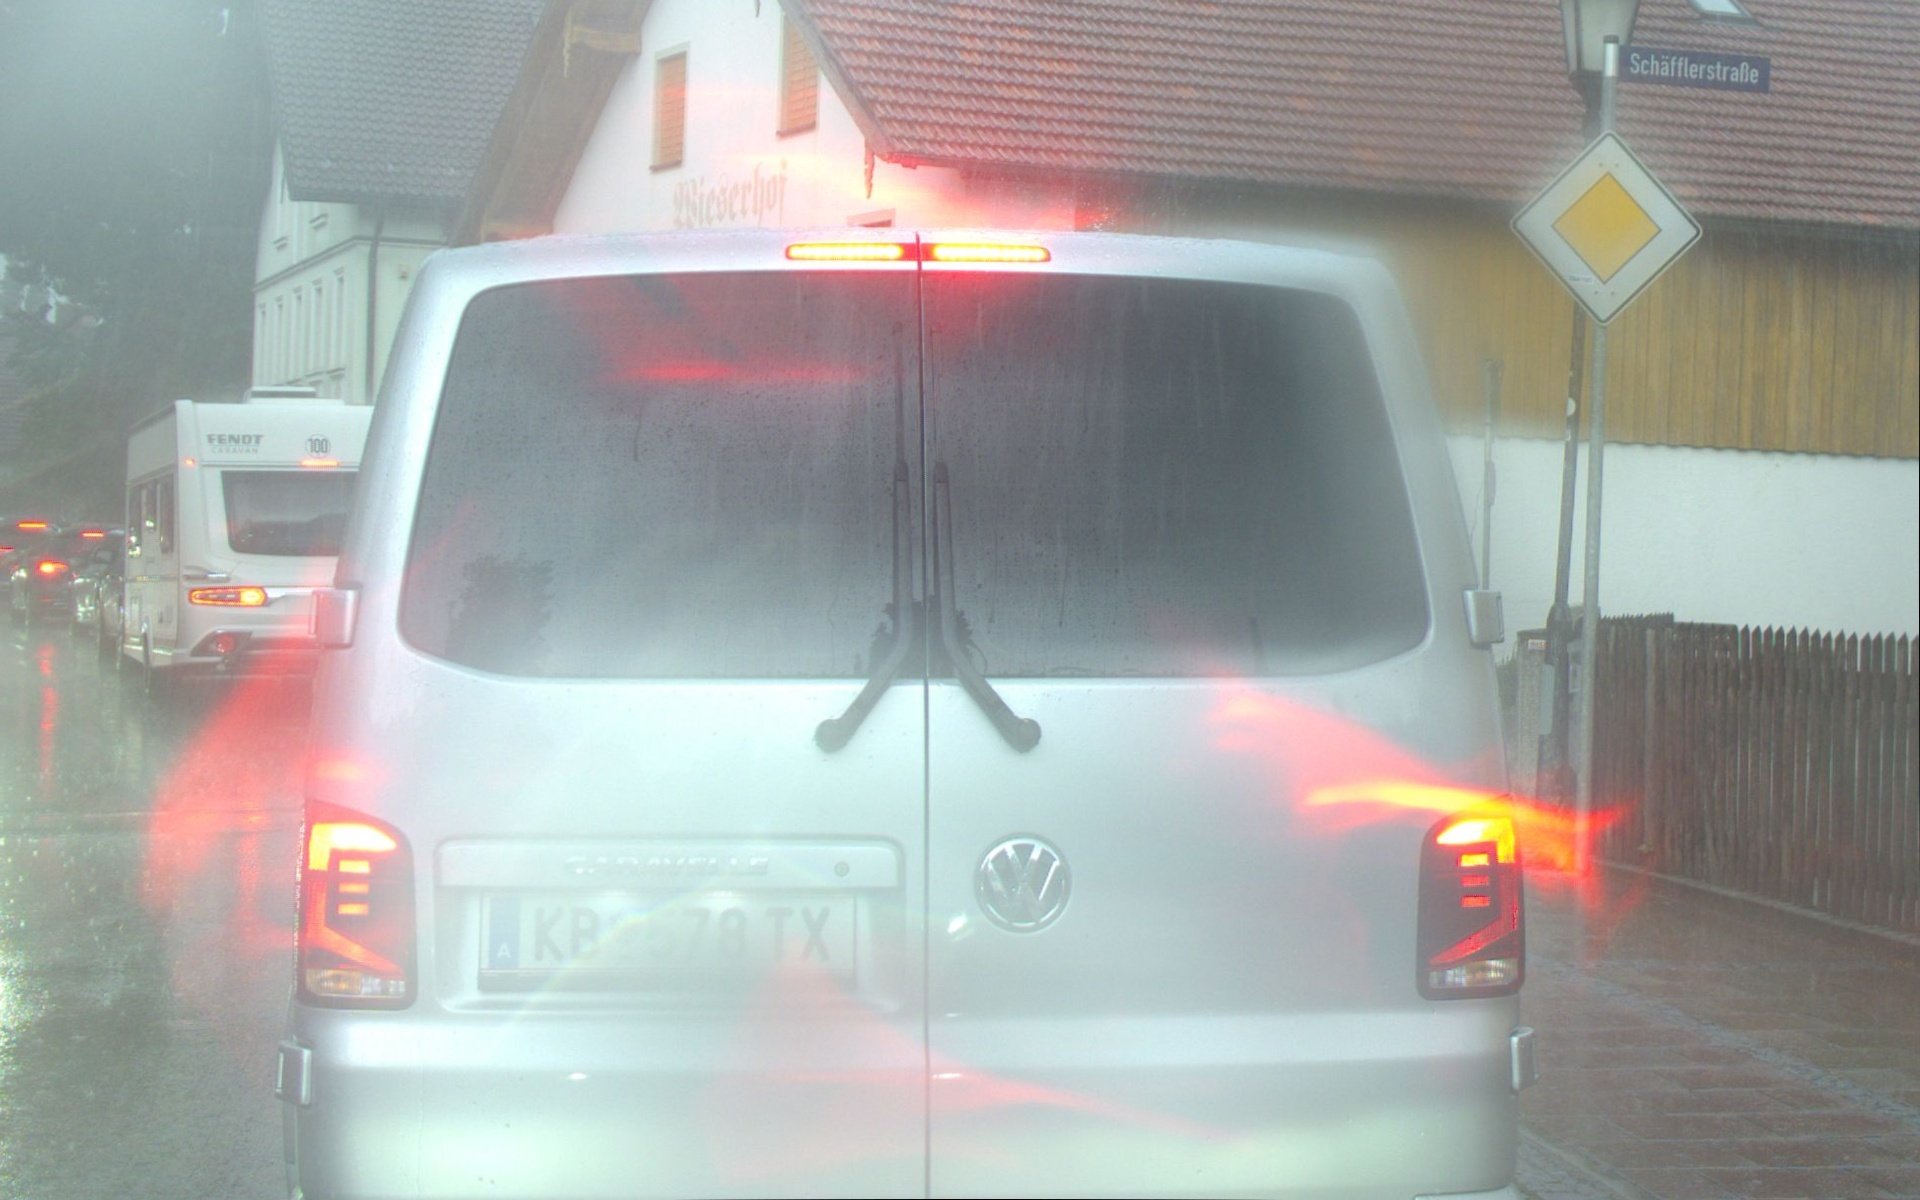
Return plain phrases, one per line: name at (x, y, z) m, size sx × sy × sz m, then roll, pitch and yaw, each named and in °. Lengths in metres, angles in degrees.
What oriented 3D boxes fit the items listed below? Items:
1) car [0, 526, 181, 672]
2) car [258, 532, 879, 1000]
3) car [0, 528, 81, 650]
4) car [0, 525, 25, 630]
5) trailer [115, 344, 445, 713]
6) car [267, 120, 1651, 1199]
car at (-12.874, -0.054, 50.416) m, size 2.168 × 1.892 × 5.016 m, roll 2°, pitch 1°, yaw -20°
car at (-1.826, 0.530, 14.495) m, size 1.708 × 1.578 × 4.687 m, roll -1°, pitch 2°, yaw -18°
car at (-16.346, -0.247, 58.469) m, size 2.168 × 1.892 × 5.016 m, roll 2°, pitch 1°, yaw -20°
car at (-19.434, -0.506, 66.430) m, size 2.168 × 1.892 × 5.016 m, roll 2°, pitch 1°, yaw -20°
trailer at (-6.110, -0.605, 30.241) m, size 2.270 × 2.894 × 6.134 m, roll 1°, pitch 1°, yaw -16°
car at (-0.160, 0.340, 6.960) m, size 1.776 × 1.956 × 5.075 m, roll 0°, pitch 1°, yaw -4°
